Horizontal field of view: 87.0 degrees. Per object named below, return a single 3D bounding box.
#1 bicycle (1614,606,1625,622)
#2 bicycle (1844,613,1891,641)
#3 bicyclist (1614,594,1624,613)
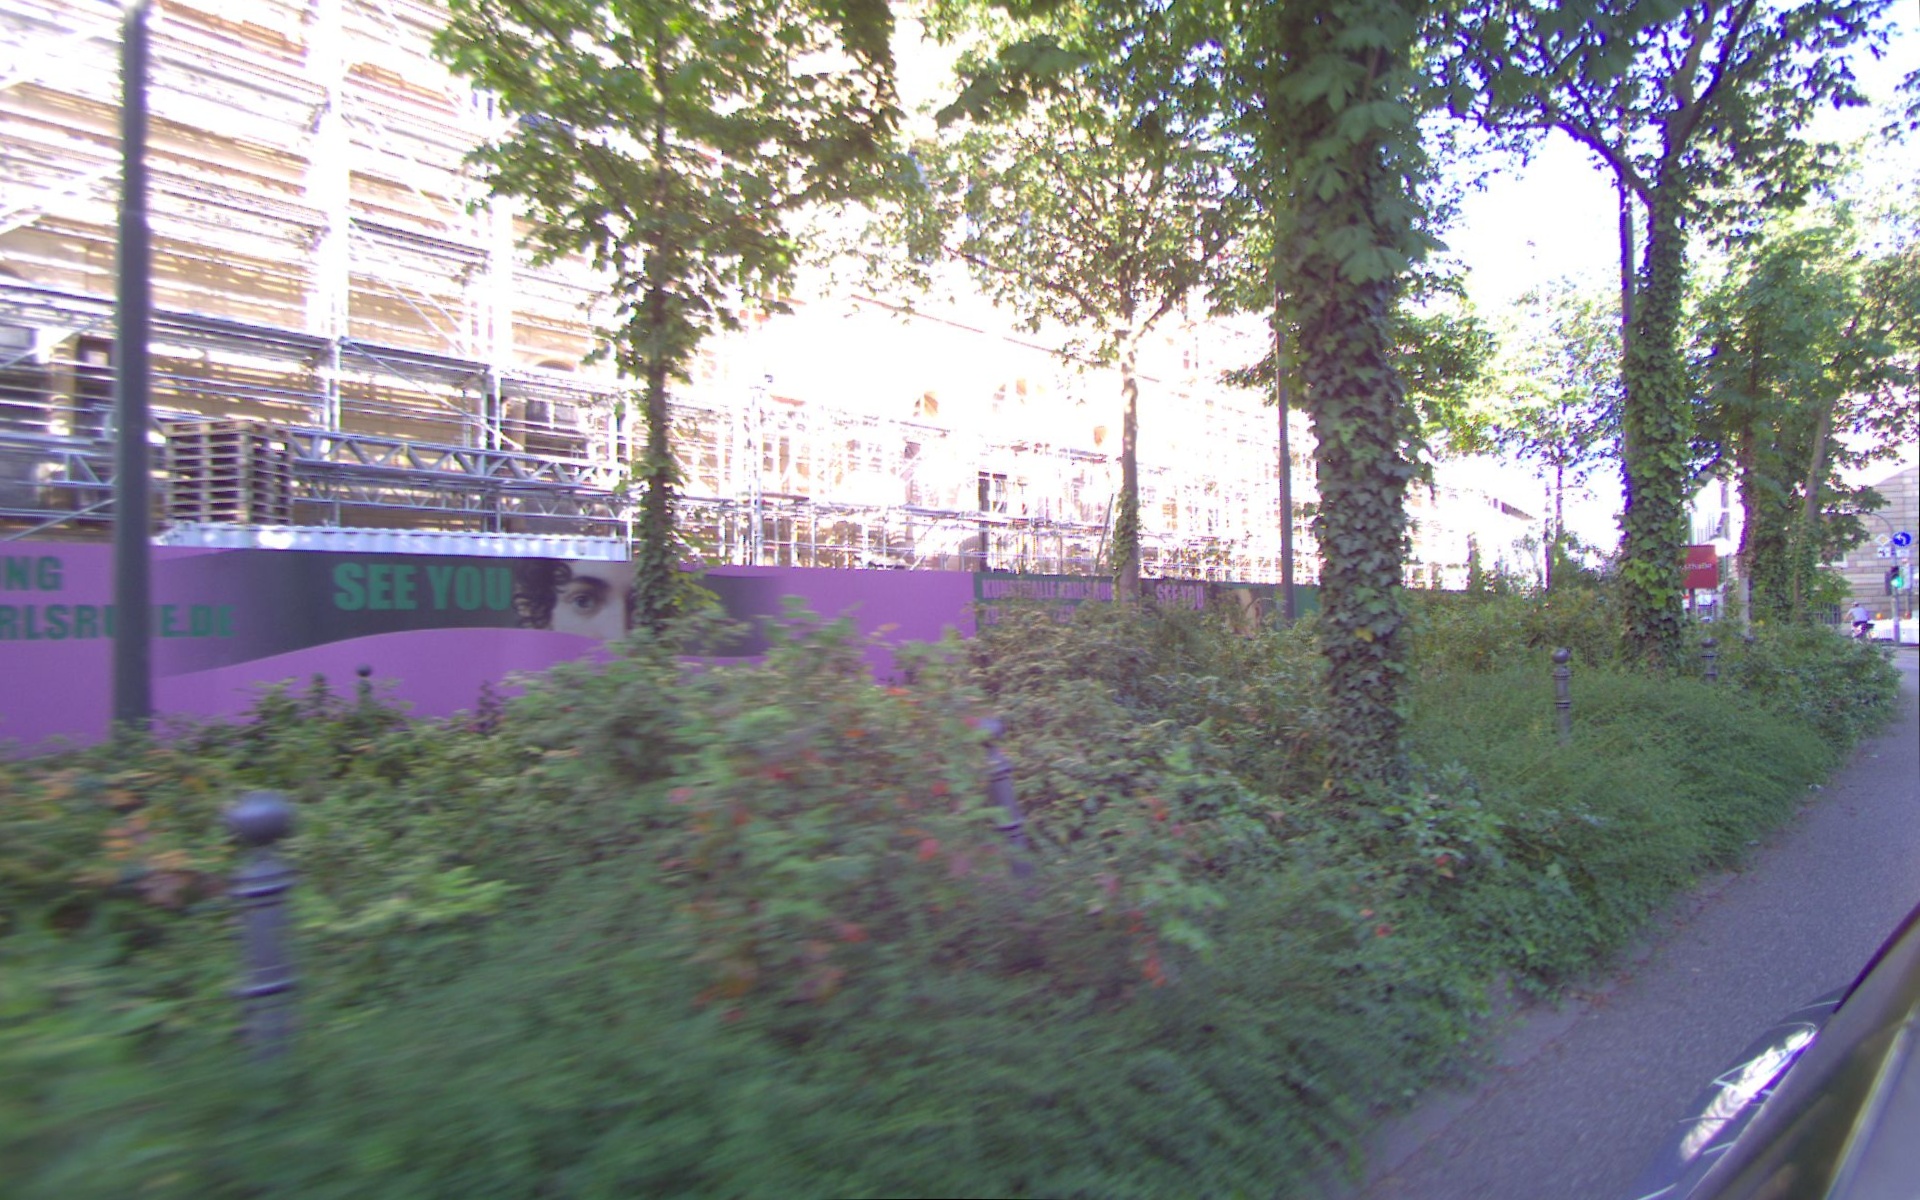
[{"bbox_3d":[45.566,0.992,69.924,0.532,1.080,1.407,-3,-2,35],"label":"bicycle"},{"bbox_3d":[36.305,1.073,40.506,0.765,1.076,2.061,-1,-1,23],"label":"bicycle"},{"bbox_3d":[45.554,0.271,69.957,0.535,1.305,0.544,-3,-3,35],"label":"bicyclist"}]
